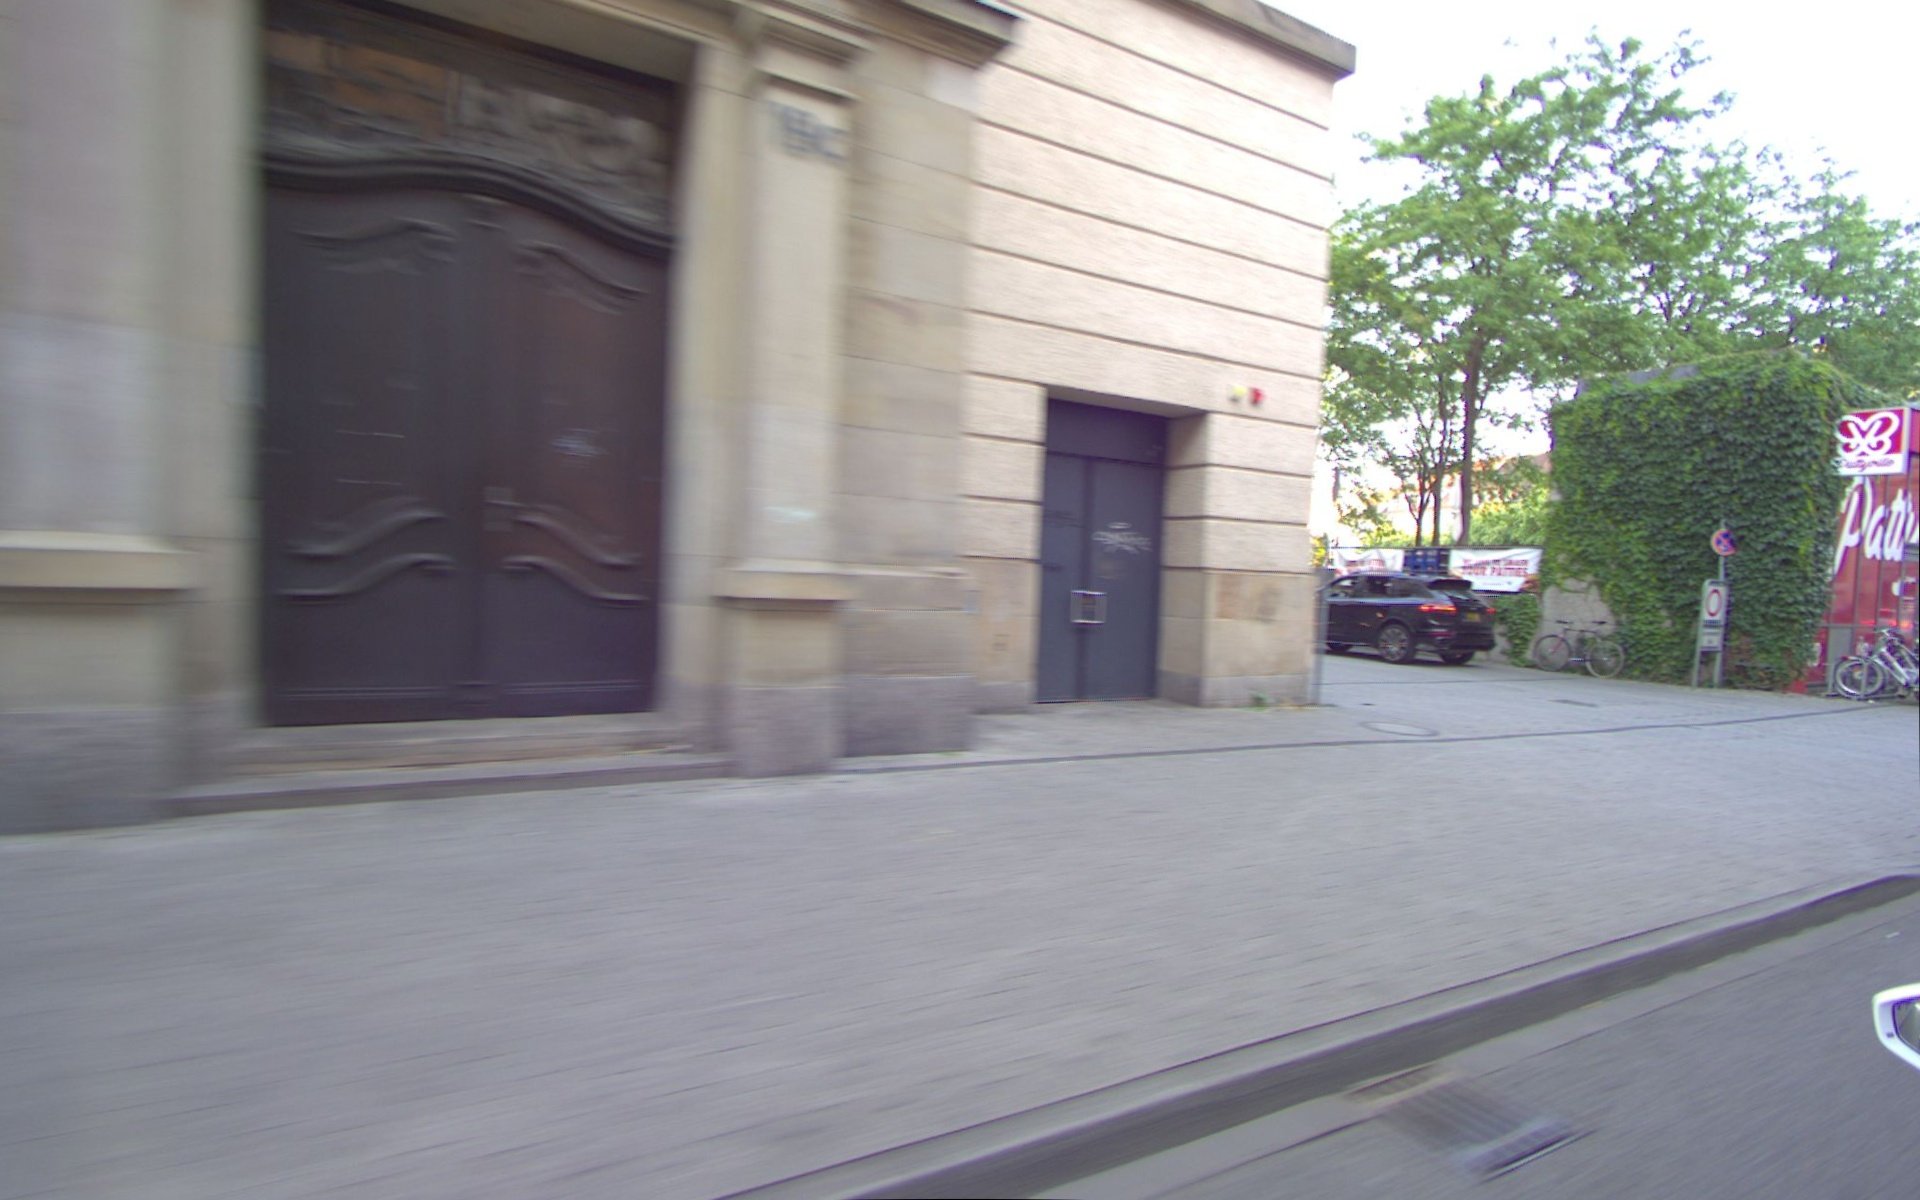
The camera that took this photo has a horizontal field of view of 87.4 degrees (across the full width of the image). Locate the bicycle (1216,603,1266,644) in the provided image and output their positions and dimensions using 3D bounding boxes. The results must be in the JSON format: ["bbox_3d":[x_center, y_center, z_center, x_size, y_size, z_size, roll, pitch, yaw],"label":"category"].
[{"bbox_3d":[6.895,0.567,24.674,0.488,0.941,1.193,1,1,-27],"label":"bicycle"}]

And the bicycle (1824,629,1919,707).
[{"bbox_3d":[14.876,1.077,15.838,0.494,1.122,1.786,1,2,-29],"label":"bicycle"}]

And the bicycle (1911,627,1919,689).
[{"bbox_3d":[17.986,1.093,17.613,0.493,1.122,1.787,1,2,-26],"label":"bicycle"}]

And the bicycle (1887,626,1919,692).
[{"bbox_3d":[17.045,1.064,17.064,0.493,1.122,1.787,1,2,-26],"label":"bicycle"}]

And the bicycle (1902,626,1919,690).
[{"bbox_3d":[17.590,1.081,17.370,0.493,1.122,1.787,1,2,-26],"label":"bicycle"}]

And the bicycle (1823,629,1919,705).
[{"bbox_3d":[15.107,1.081,16.125,0.494,1.122,1.785,1,2,-30],"label":"bicycle"}]

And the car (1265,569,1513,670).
[{"bbox_3d":[8.426,0.304,20.132,2.041,1.783,4.203,1,1,-28],"label":"car"}]

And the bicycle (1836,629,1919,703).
[{"bbox_3d":[15.561,1.090,16.398,0.494,1.122,1.785,1,2,-30],"label":"bicycle"}]

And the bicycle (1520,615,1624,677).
[{"bbox_3d":[11.428,0.846,18.811,0.366,1.027,1.653,1,2,-28],"label":"bicycle"}]
